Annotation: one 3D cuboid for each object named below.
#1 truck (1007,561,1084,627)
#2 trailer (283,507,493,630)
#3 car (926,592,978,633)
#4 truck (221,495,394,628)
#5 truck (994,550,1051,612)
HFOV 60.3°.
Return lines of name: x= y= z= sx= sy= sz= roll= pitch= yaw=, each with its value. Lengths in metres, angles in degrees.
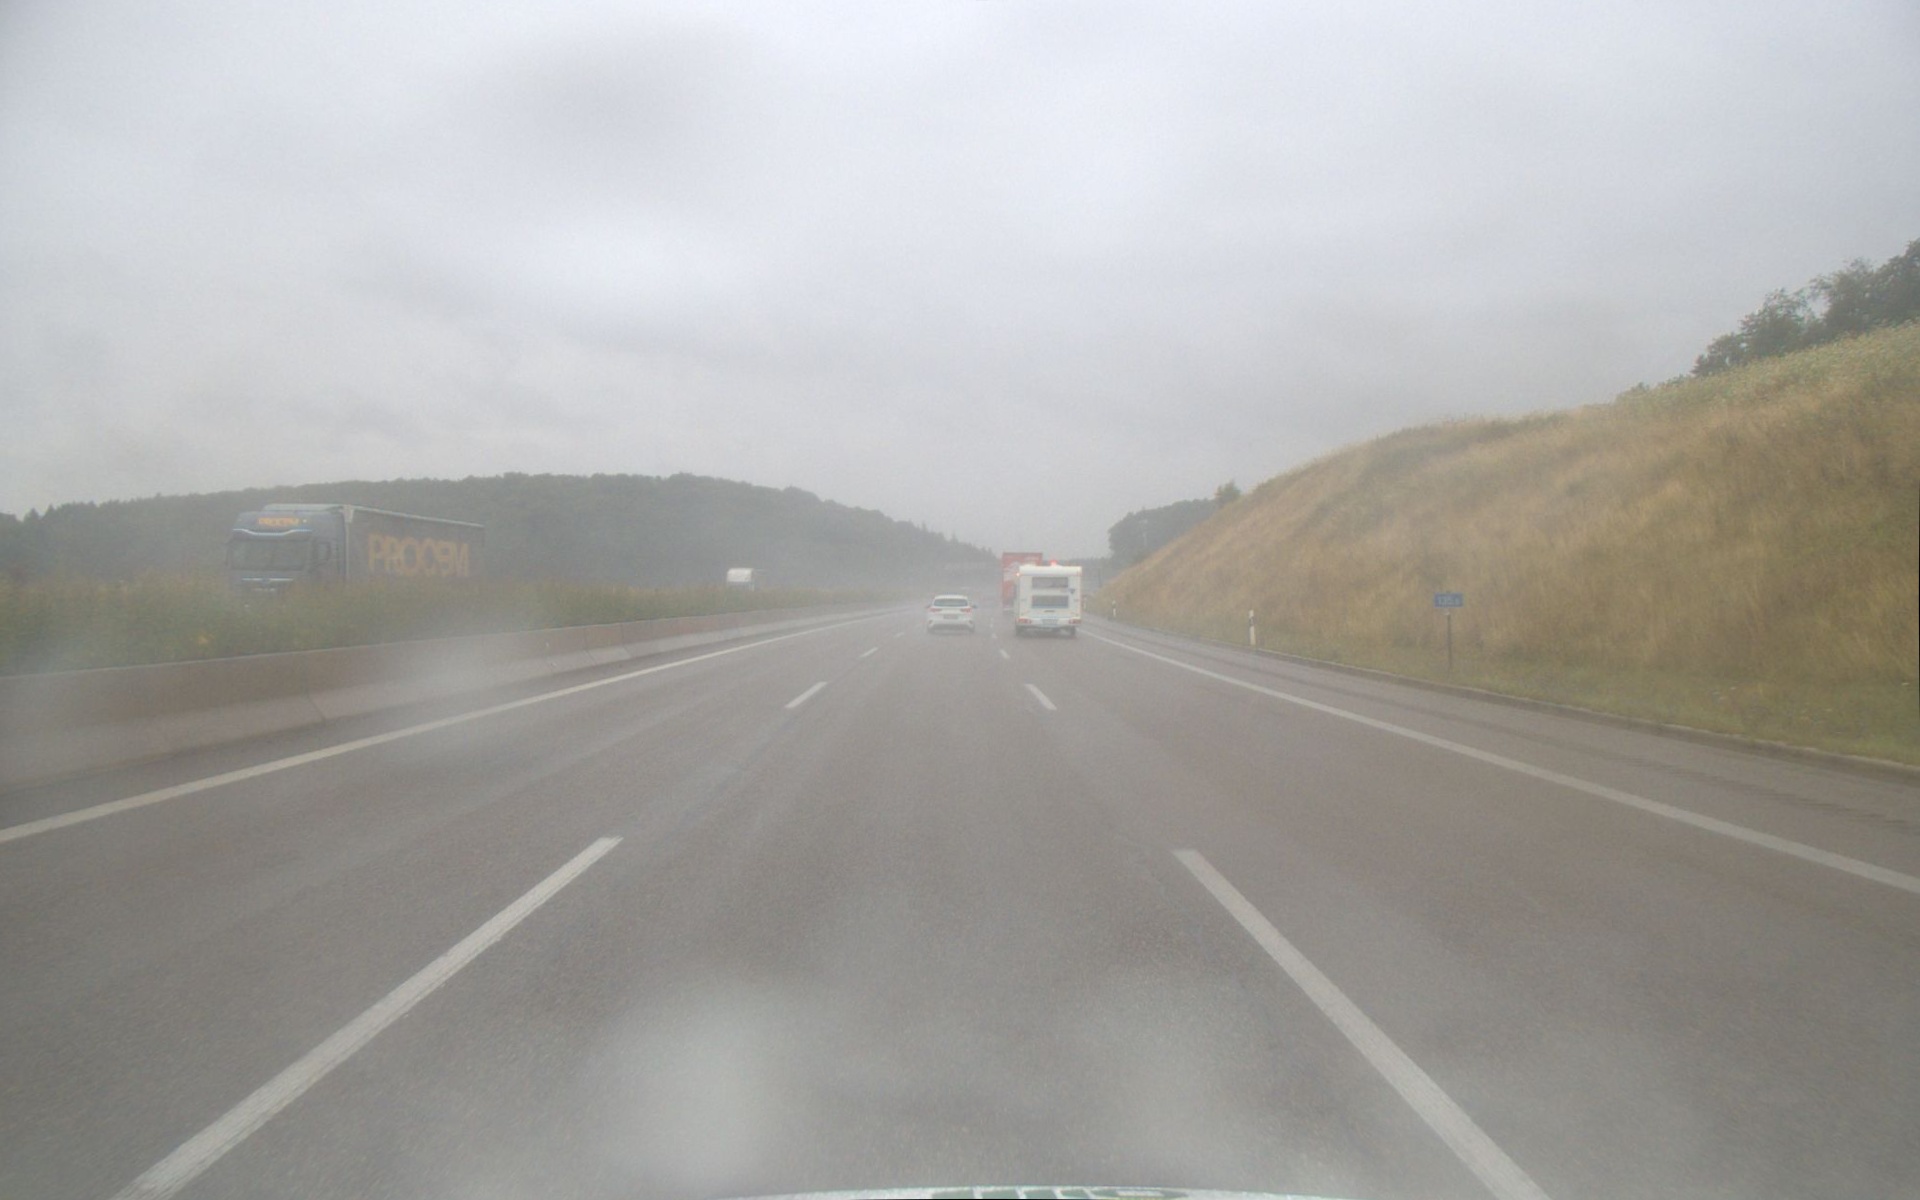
truck: x=3.056 y=-0.218 z=59.927 sx=2.359 sy=2.292 sz=4.690 roll=0 pitch=0 yaw=-3
trailer: x=-19.308 y=-0.868 z=56.984 sx=2.931 sy=3.703 sz=12.488 roll=1 pitch=-1 yaw=0
car: x=-0.314 y=0.467 z=61.862 sx=1.830 sy=1.488 sz=3.998 roll=0 pitch=-1 yaw=-2
truck: x=-19.278 y=-1.040 z=49.235 sx=2.889 sy=3.685 sz=5.463 roll=1 pitch=-1 yaw=0
truck: x=4.119 y=-1.290 z=108.633 sx=3.454 sy=3.808 sz=11.430 roll=1 pitch=1 yaw=2
